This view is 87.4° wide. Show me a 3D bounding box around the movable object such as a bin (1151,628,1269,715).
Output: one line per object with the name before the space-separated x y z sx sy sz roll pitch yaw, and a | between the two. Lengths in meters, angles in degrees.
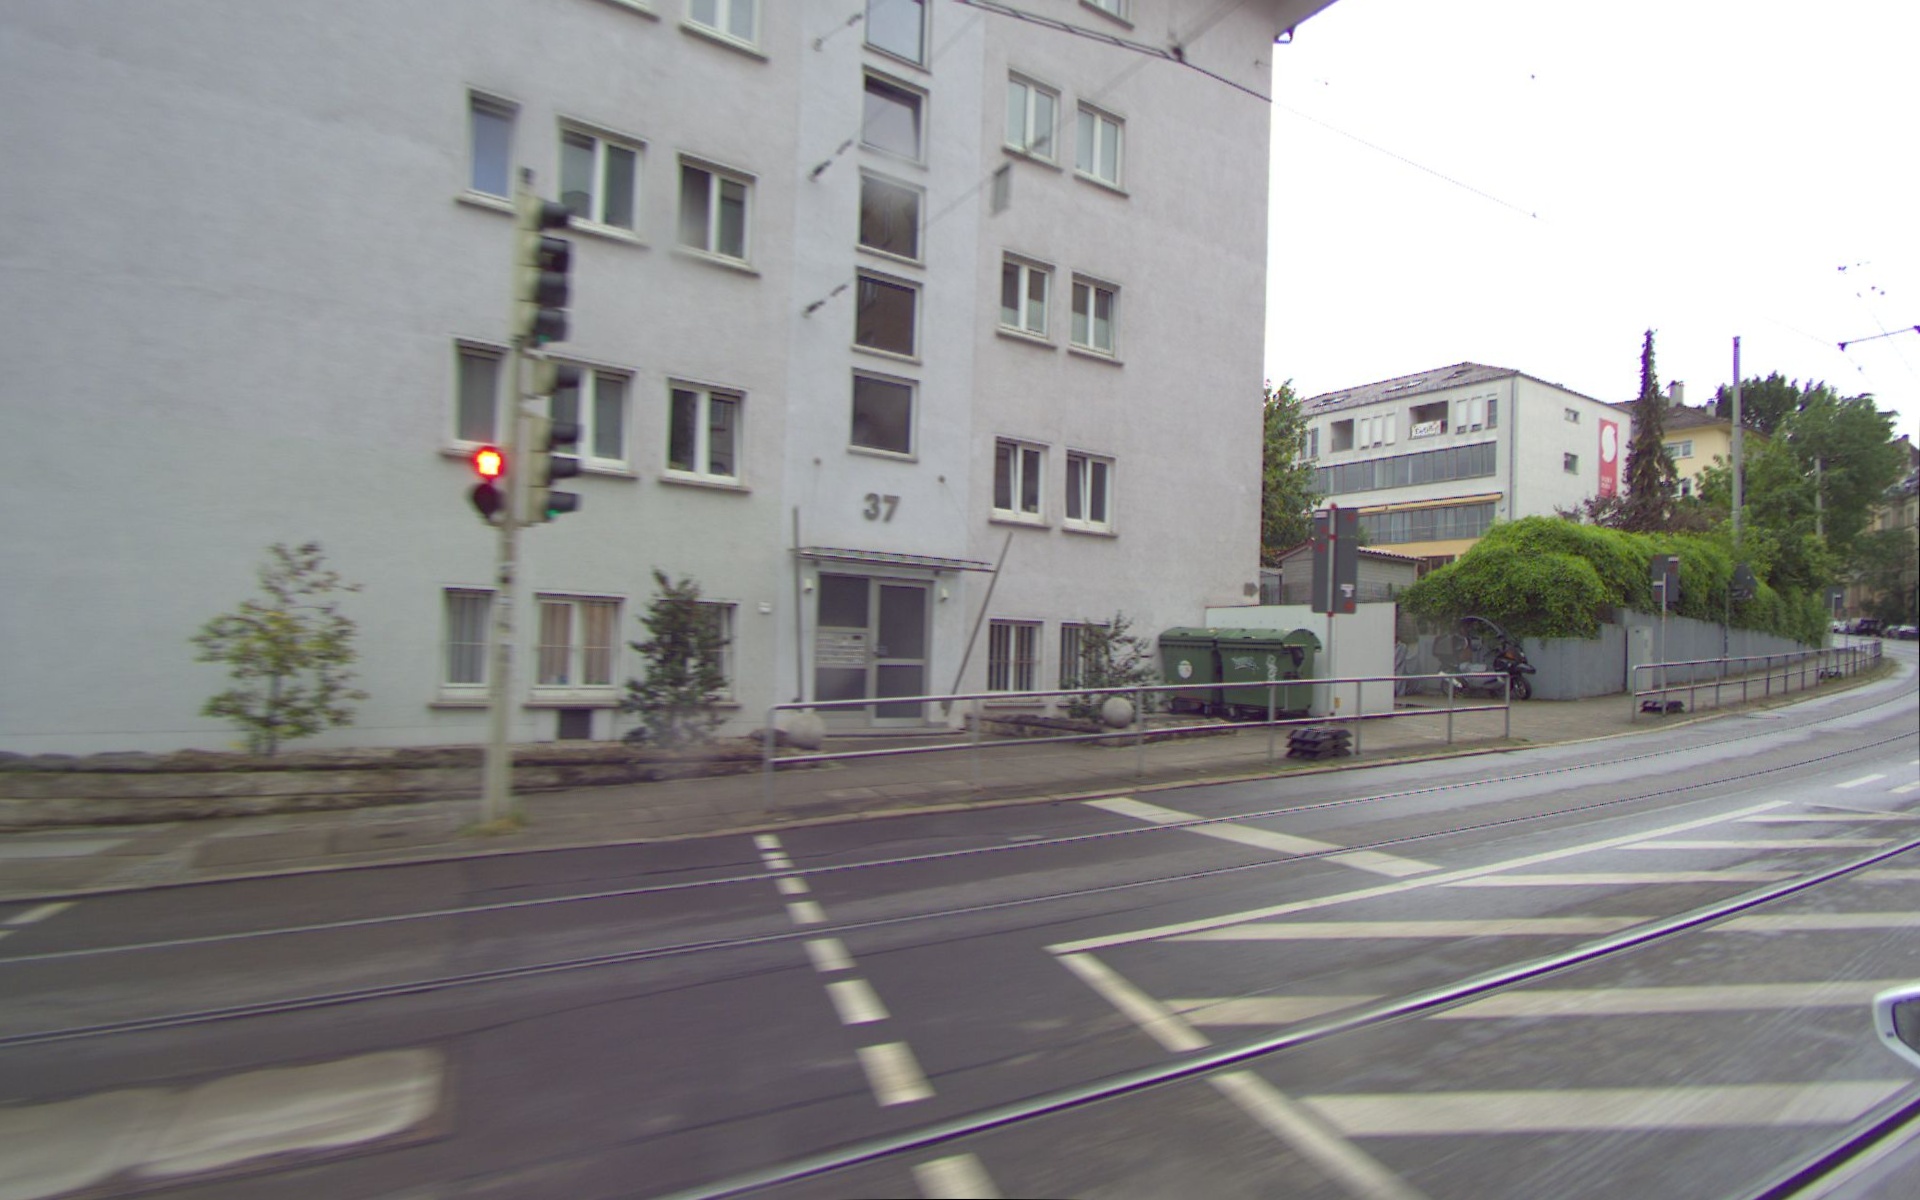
movable object such as a bin | 4.172 1.167 16.802 1.311 1.354 1.360 0 -2 -33

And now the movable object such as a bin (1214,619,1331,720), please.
movable object such as a bin | 4.870 1.052 15.668 1.276 1.481 1.178 0 -2 -33

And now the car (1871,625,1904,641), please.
car | 94.684 3.349 102.566 1.626 1.556 3.880 -2 -2 31

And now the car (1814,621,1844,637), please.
car | 104.705 3.479 121.018 1.999 1.849 4.129 2 1 32

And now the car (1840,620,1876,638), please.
car | 99.245 3.225 111.037 1.998 1.849 4.360 2 1 29

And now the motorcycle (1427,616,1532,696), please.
motorcycle | 11.168 1.191 21.663 0.591 1.621 1.908 -1 -2 -37

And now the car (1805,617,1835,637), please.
car | 107.274 3.352 125.377 1.998 2.248 4.132 2 1 30

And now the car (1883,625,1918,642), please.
car | 92.149 3.284 98.437 1.742 1.538 4.128 2 1 33
